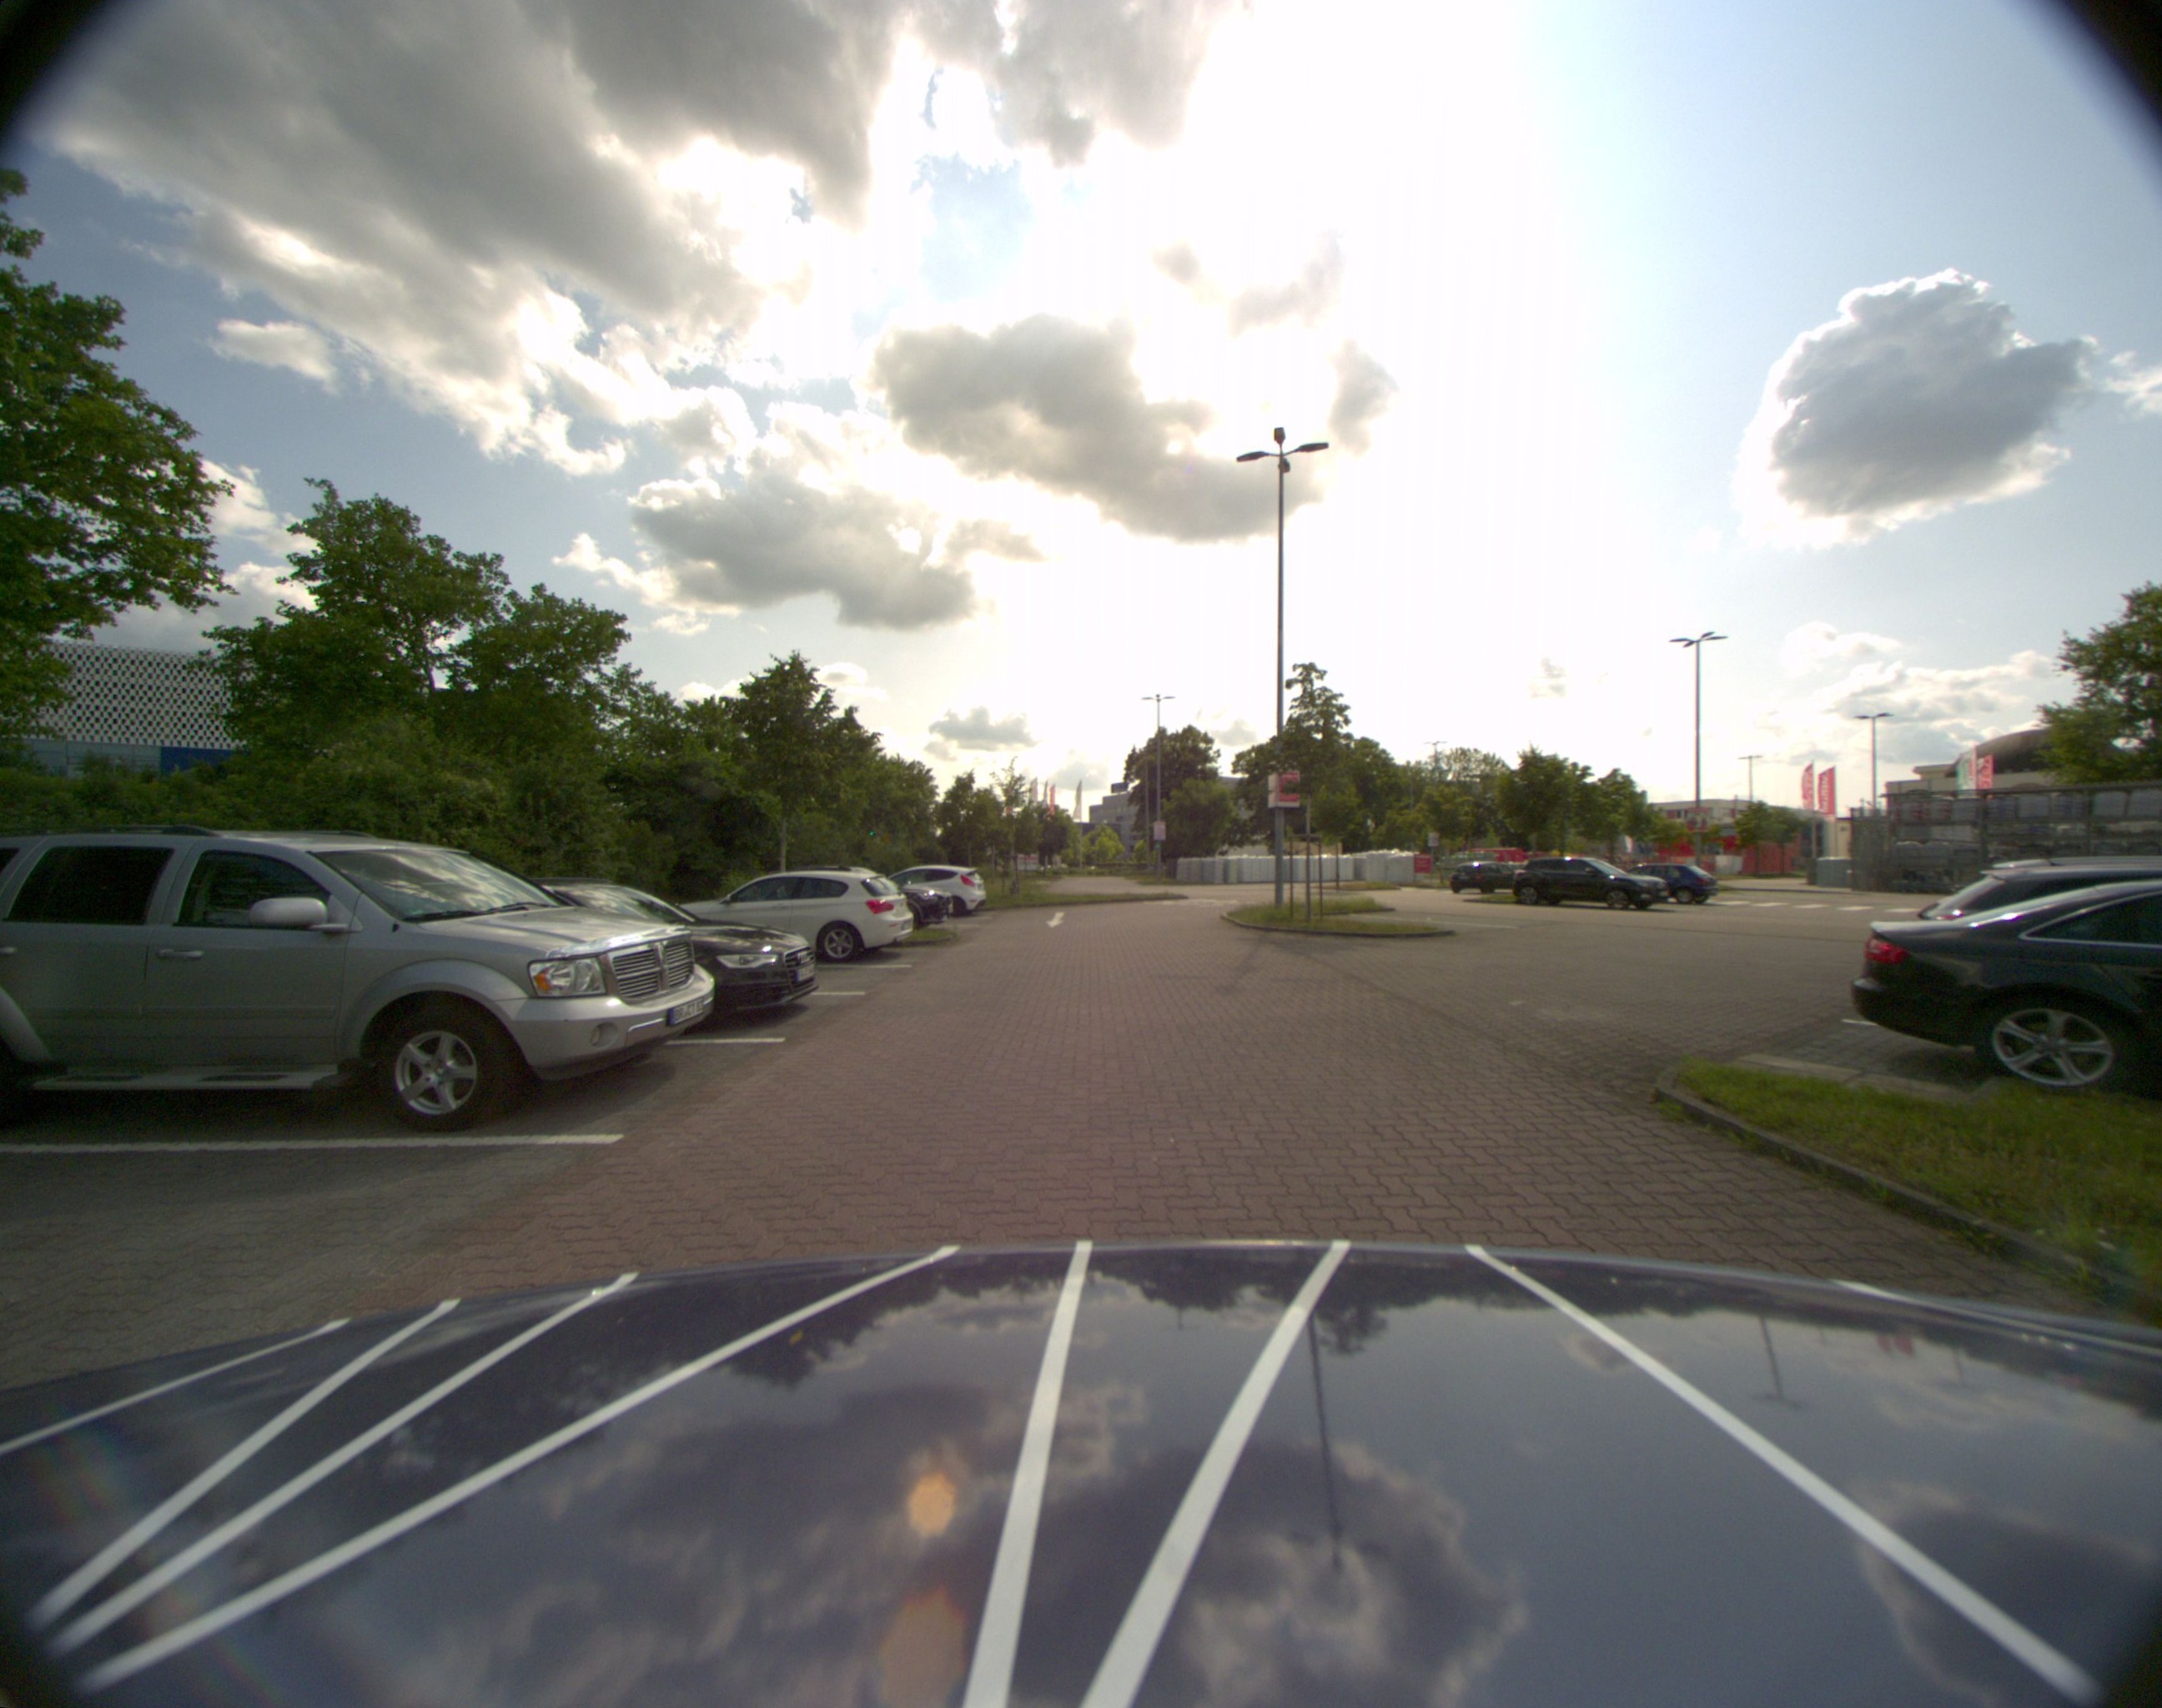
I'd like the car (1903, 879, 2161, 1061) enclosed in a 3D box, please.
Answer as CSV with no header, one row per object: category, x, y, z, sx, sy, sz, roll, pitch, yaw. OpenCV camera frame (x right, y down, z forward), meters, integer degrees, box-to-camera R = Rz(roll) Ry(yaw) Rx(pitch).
car,9.454,0.938,5.889,1.582,1.361,3.990,0,0,-34

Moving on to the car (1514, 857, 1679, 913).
car,16.165,0.897,24.024,1.739,1.615,3.953,0,0,-32

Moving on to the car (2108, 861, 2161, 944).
car,22.628,0.946,14.196,1.787,1.615,4.073,0,0,-36

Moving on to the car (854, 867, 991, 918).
car,-4.541,1.097,22.107,3.553,1.403,1.671,0,0,5

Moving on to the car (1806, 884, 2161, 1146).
car,7.353,0.962,4.216,1.775,1.424,4.531,0,0,-33

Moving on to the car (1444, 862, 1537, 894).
car,18.058,1.020,33.491,3.792,1.313,1.608,0,0,-24

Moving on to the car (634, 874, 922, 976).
car,-4.872,1.106,12.587,4.077,1.501,1.690,0,1,4

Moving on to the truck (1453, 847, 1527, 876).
truck,36.545,0.671,67.983,2.121,2.500,5.430,0,0,-36

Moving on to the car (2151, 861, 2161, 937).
car,24.888,0.960,15.332,1.787,1.615,3.696,0,0,-39

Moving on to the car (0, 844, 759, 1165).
car,-5.261,0.864,5.336,5.144,1.832,1.991,0,0,0

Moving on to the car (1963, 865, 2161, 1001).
car,13.454,0.938,9.231,1.713,1.572,3.438,0,0,-36

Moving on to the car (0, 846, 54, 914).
car,-32.724,0.768,21.457,1.998,2.002,4.000,0,0,1

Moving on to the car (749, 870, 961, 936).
car,-4.987,1.072,17.163,4.239,1.402,1.733,0,0,1

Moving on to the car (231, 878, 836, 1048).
car,-5.119,0.994,7.626,4.721,1.442,1.839,0,0,0

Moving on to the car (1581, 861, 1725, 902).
car,20.301,0.942,27.109,1.624,1.359,3.753,1,-1,-34

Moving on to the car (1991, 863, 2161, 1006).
car,11.939,0.800,7.237,1.770,1.390,4.077,0,0,-36

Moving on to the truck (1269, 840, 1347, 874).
truck,24.507,0.349,81.744,9.052,3.577,2.723,1,0,-32
